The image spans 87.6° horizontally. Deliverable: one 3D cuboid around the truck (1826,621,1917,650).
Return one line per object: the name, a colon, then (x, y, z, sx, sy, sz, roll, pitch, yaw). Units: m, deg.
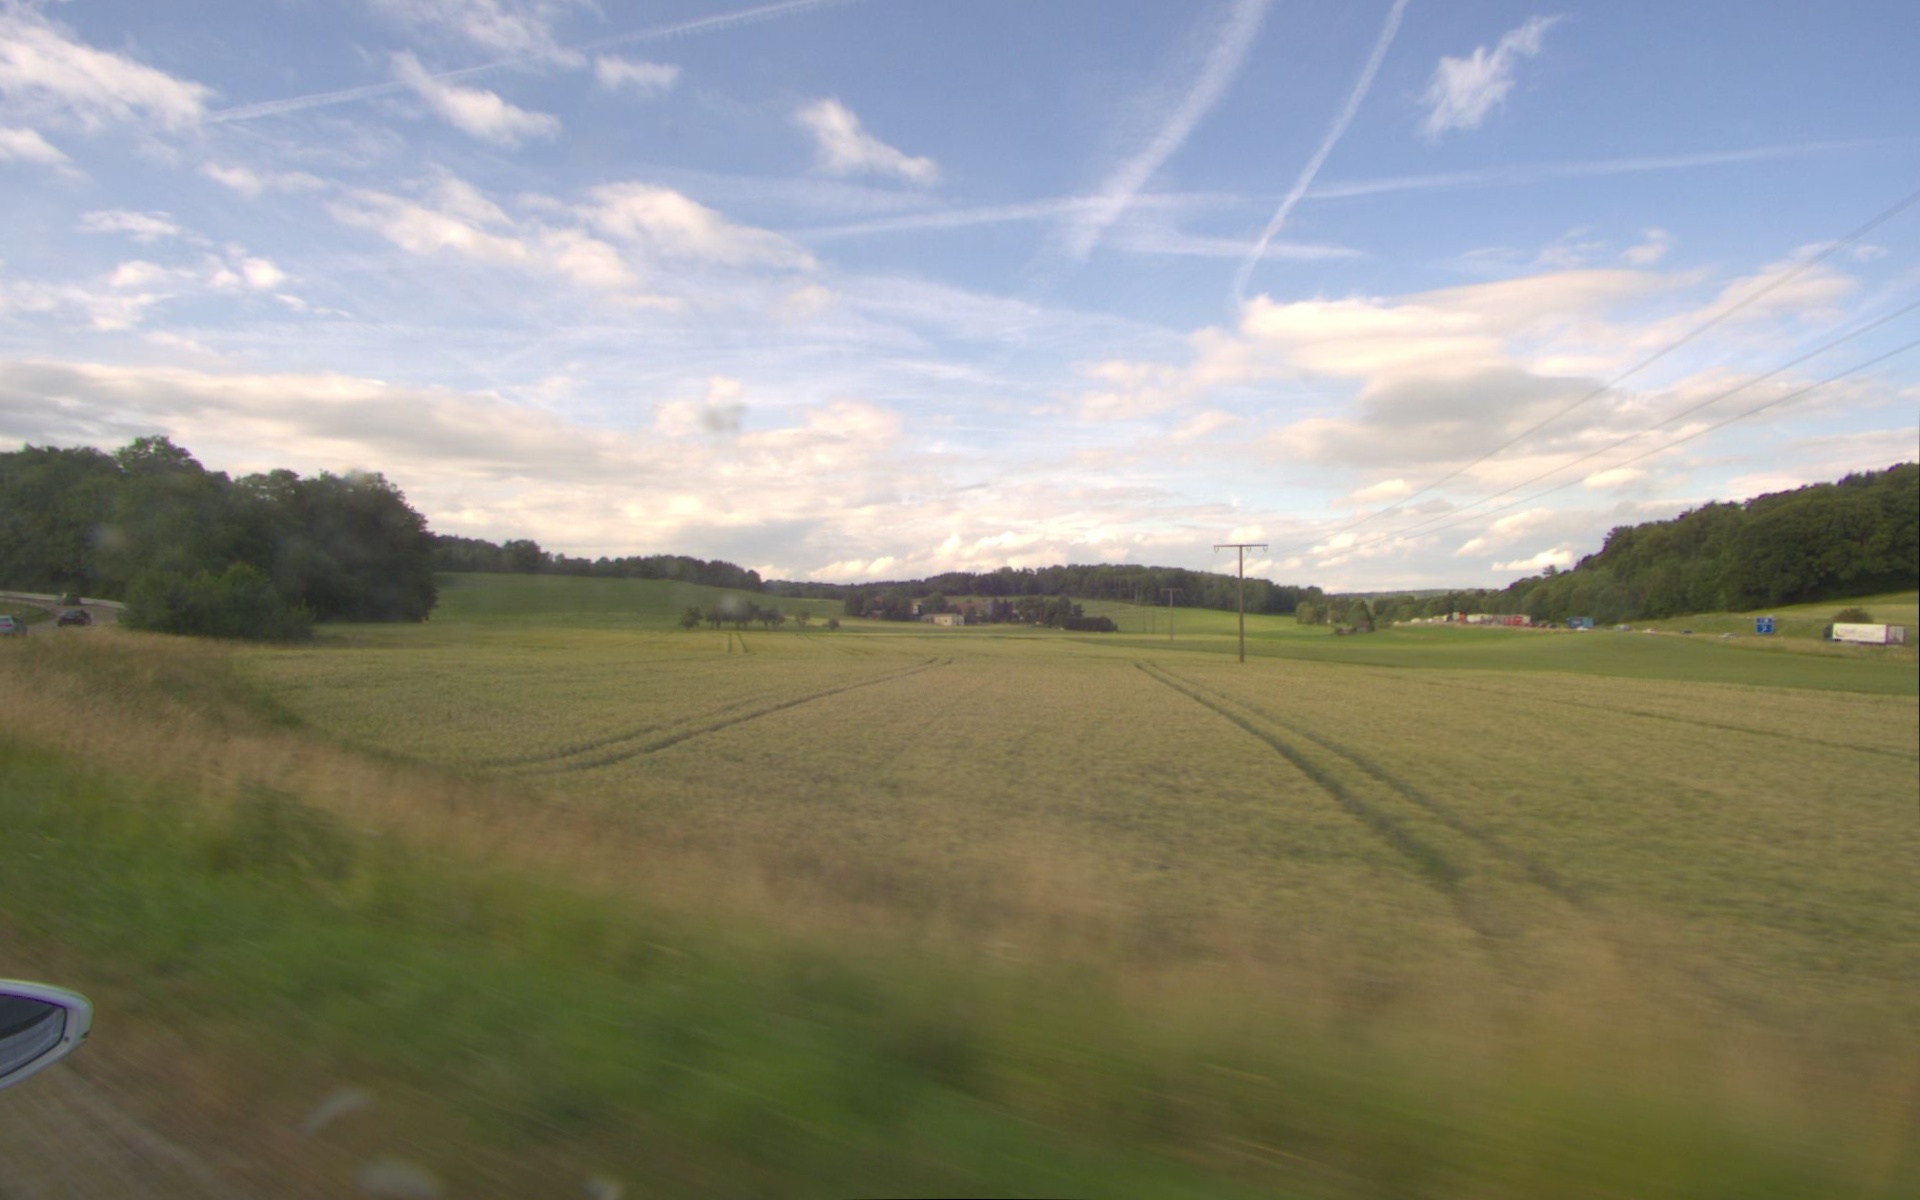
truck: (152.738, 5.863, 168.148, 4.004, 4.048, 14.415, -5, -1, 10)

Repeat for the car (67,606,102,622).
car: (-75.004, 1.200, 85.820, 1.453, 1.243, 3.286, -2, 0, -26)

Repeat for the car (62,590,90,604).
car: (-119.512, -0.422, 135.370, 4.123, 1.701, 1.987, 2, 0, 37)

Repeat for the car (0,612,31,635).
car: (-61.084, 1.473, 64.079, 1.665, 1.394, 3.975, -1, 0, -33)

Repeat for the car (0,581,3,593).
car: (-146.930, -2.075, 151.095, 3.926, 1.795, 1.998, 2, 0, 16)
